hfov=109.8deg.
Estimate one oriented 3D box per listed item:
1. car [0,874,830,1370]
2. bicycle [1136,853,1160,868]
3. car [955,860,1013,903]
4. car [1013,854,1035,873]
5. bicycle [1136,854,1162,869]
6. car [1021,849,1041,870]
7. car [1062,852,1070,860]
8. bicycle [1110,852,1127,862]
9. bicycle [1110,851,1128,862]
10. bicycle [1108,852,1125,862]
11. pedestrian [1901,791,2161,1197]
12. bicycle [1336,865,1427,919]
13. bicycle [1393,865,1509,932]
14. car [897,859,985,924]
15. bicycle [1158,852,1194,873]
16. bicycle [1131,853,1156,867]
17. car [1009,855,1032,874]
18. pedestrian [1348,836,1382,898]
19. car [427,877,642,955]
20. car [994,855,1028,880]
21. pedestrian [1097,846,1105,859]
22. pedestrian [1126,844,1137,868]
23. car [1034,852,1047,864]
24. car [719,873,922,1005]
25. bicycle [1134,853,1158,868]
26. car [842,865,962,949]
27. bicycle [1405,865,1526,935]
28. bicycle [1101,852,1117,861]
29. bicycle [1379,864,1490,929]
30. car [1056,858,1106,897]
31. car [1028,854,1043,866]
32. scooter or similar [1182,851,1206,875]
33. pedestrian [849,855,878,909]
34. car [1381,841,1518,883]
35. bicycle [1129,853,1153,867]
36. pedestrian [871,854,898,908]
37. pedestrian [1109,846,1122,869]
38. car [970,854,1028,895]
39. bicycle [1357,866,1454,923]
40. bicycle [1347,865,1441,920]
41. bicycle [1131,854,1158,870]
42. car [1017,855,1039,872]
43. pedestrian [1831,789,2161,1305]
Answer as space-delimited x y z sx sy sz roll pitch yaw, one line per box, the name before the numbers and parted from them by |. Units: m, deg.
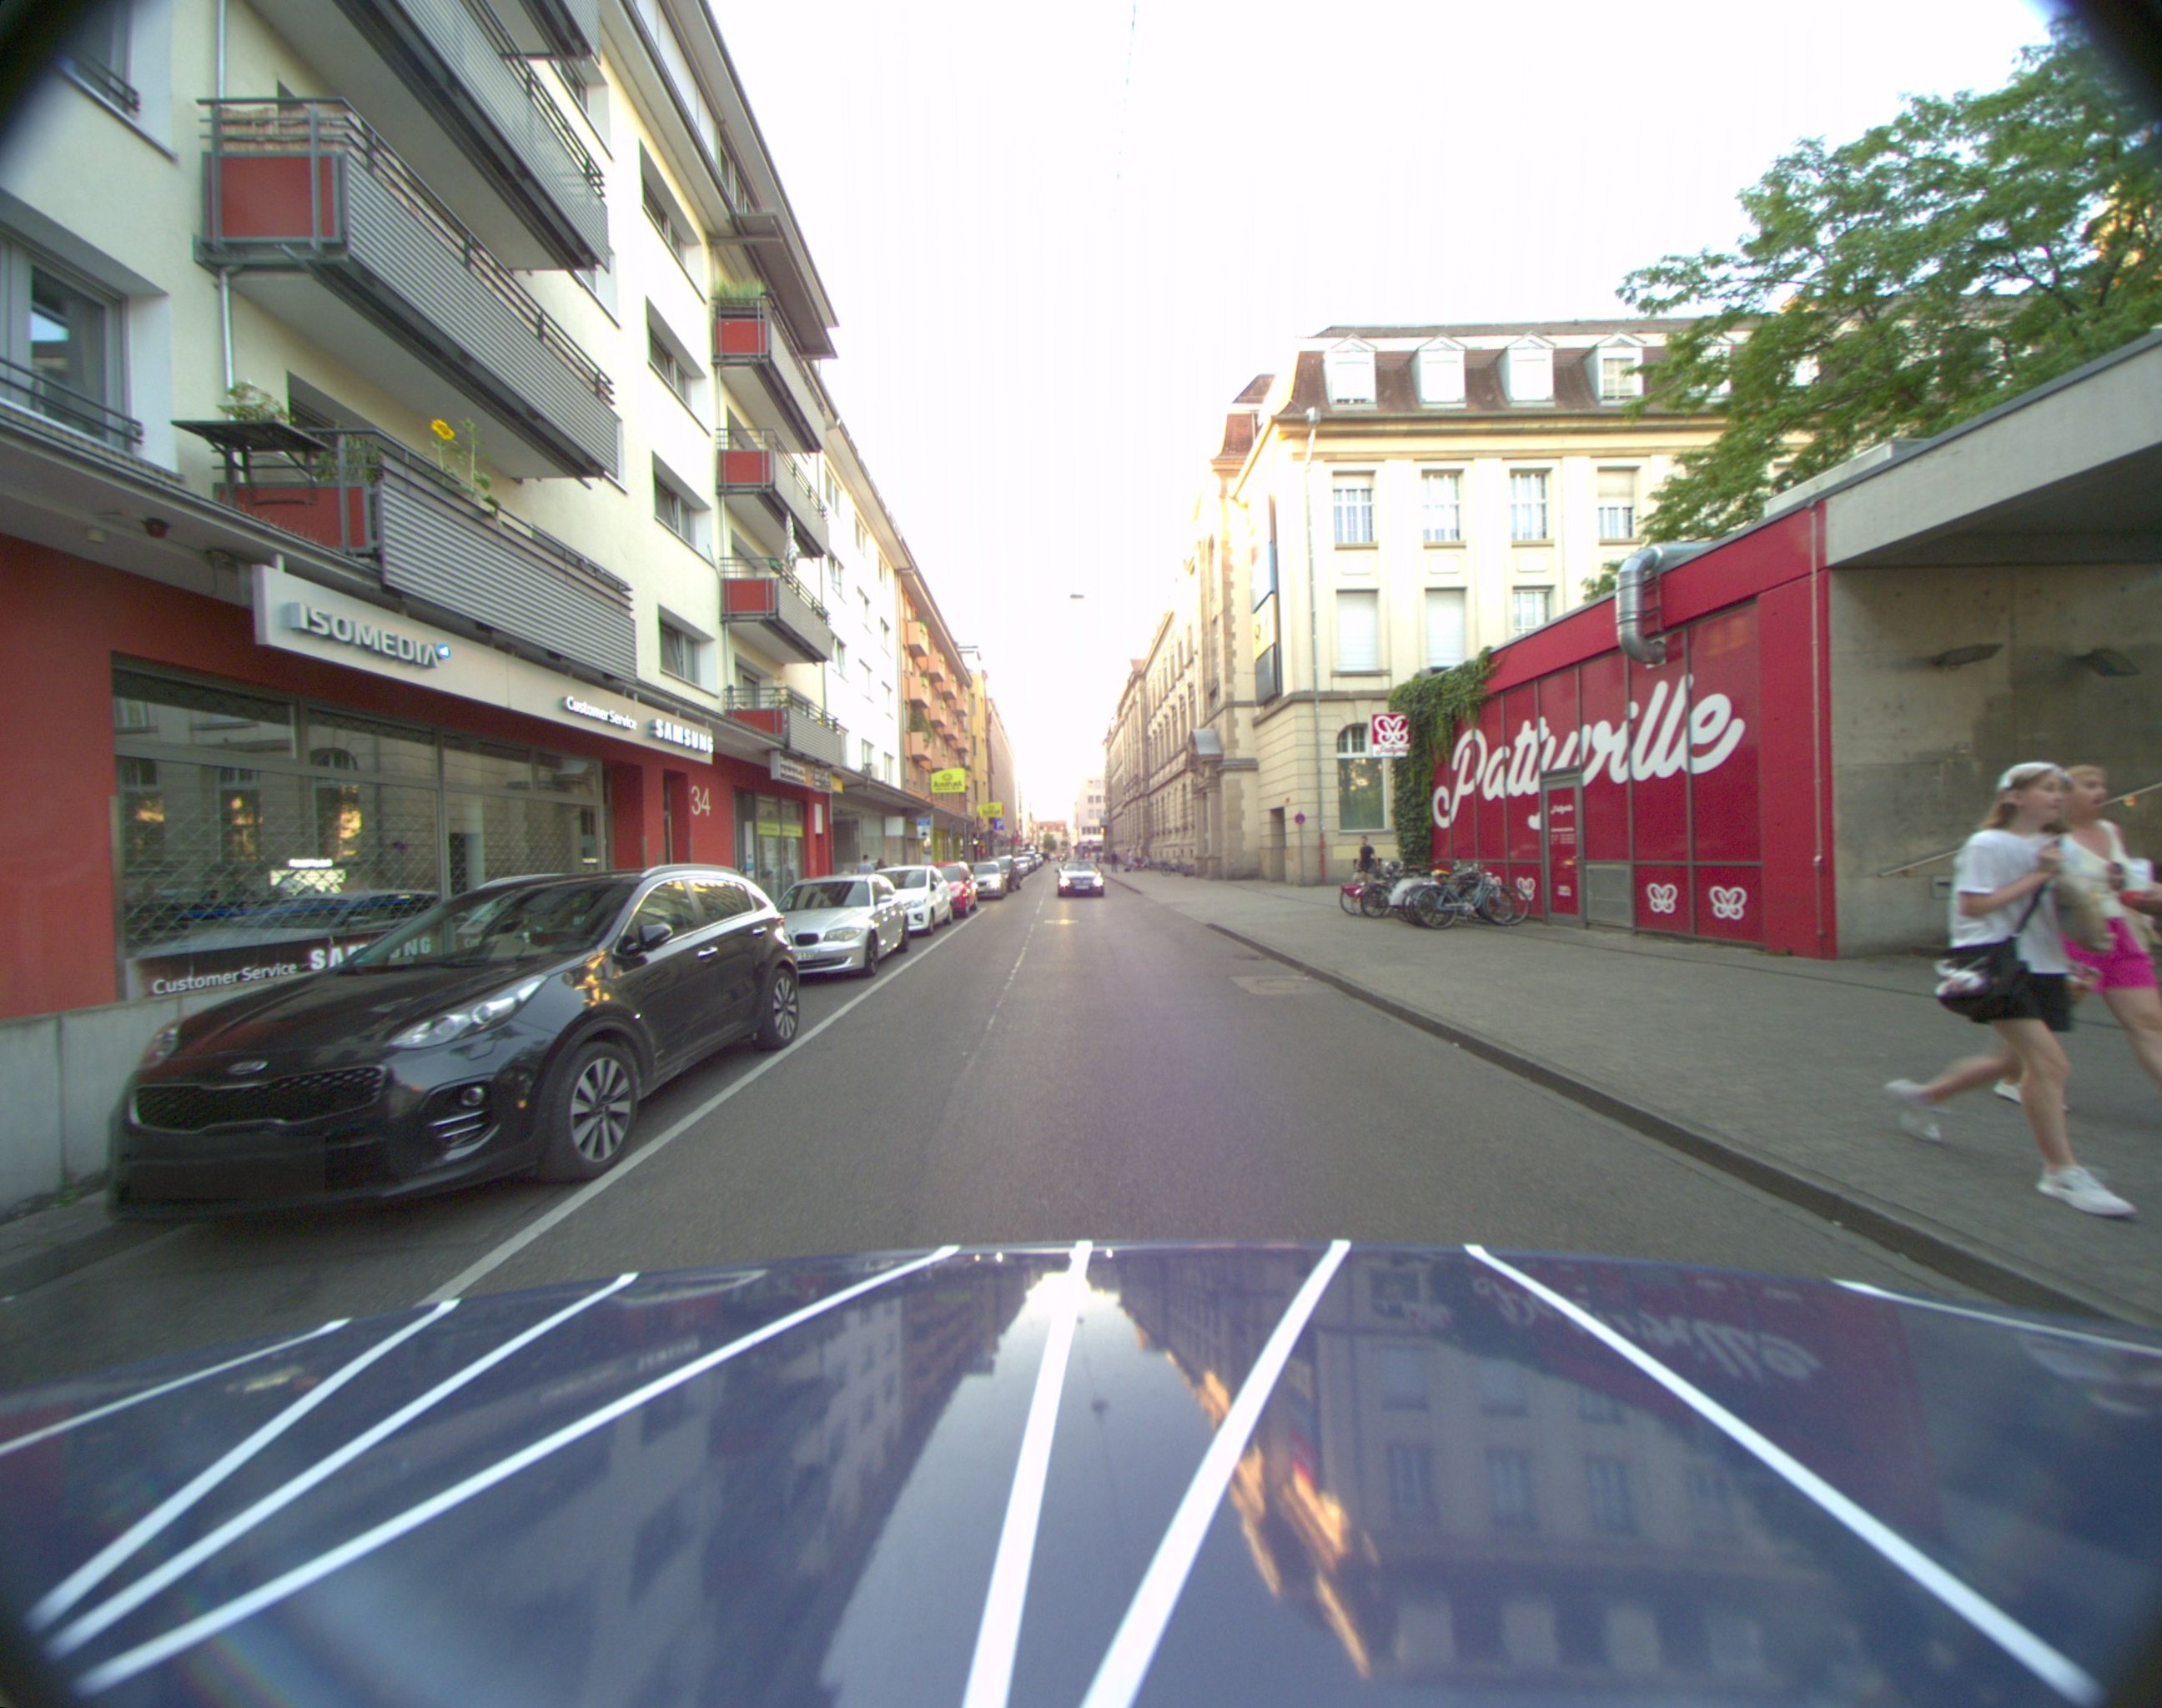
car | -3.432 1.074 5.250 1.769 1.632 4.790 -4 0 -1
bicycle | 5.279 0.513 59.949 1.800 1.101 0.500 -4 1 -7
car | -3.650 0.996 29.359 1.741 1.407 4.681 -4 0 -3
car | -5.009 0.821 66.949 1.623 1.507 4.172 -4 0 -2
bicycle | 5.292 0.554 59.135 1.943 1.055 0.619 -4 1 -7
car | -5.177 0.561 79.146 1.851 2.046 5.052 -3 1 -2
car | -3.437 0.498 172.470 1.824 1.728 3.999 -2 0 -2
bicycle | 4.511 0.345 91.915 1.943 1.072 0.729 -4 1 -8
bicycle | 4.493 0.297 89.876 1.942 1.072 0.748 -4 1 -2
bicycle | 4.397 0.348 93.228 1.943 1.072 0.729 -4 1 -8
pedestrian | 4.866 0.587 3.697 0.755 1.739 0.846 -3 0 -2
bicycle | 6.644 0.839 16.836 1.799 1.101 0.500 -2 1 -1
bicycle | 6.641 0.795 13.680 1.798 1.101 0.500 -3 1 2
car | -3.820 0.966 21.492 1.717 1.503 4.651 -4 0 -3
bicycle | 5.671 0.503 45.234 1.944 1.055 0.619 -5 2 -16
bicycle | 5.240 0.510 63.368 1.943 1.055 0.619 -4 1 -7
car | -4.890 0.857 61.779 1.696 1.403 4.637 -4 0 -4
pedestrian | 8.671 0.403 23.211 0.617 1.845 0.634 -4 1 -28
car | -11.652 1.254 16.593 1.744 1.329 4.000 -2 0 1
car | -4.469 0.864 48.935 1.696 1.406 4.756 -4 0 -1
pedestrian | 2.709 -0.186 102.676 0.831 1.736 0.769 -4 1 -1
pedestrian | 3.935 0.150 59.637 0.589 1.840 0.754 -4 1 -7
car | -6.066 0.569 113.068 1.781 1.656 4.811 -3 1 -4
car | -3.737 1.122 11.782 1.703 1.443 4.457 -4 0 -3
bicycle | 5.199 0.491 61.147 1.800 1.101 0.500 -4 1 -7
car | -3.833 1.072 16.958 1.610 1.503 4.048 -4 0 0
bicycle | 6.657 0.797 13.211 1.798 1.101 0.500 -3 1 2
bicycle | 3.985 0.298 107.850 2.025 1.102 0.730 -4 1 -8
bicycle | 6.643 0.792 14.313 1.798 1.101 0.500 -3 1 2
car | -0.074 0.871 29.757 1.741 1.407 4.681 1 0 -3
car | -5.717 0.740 96.070 1.661 1.439 4.307 -3 1 -2
scooter or similar | 6.152 0.504 41.456 1.137 1.225 0.496 -3 1 -13
pedestrian | -6.808 0.851 23.841 0.649 1.652 0.794 1 1 1
car | 13.074 0.278 27.082 4.016 1.363 1.750 -2 0 -2
bicycle | 5.094 0.519 64.613 1.942 1.055 0.619 -3 1 -2
pedestrian | -6.146 0.833 23.841 0.649 1.652 0.655 1 1 1
pedestrian | 2.704 0.284 59.669 0.811 1.740 0.969 -3 1 -1
car | -3.681 0.871 34.734 1.798 1.600 4.487 -4 0 3
bicycle | 6.794 0.837 15.957 1.799 1.101 0.500 -2 1 -2
bicycle | 6.780 0.831 16.492 1.799 1.101 0.500 -2 1 -2
bicycle | 4.884 0.592 58.085 1.942 1.055 0.619 -3 2 -3
car | -5.011 0.906 72.064 1.691 1.444 4.497 -4 0 0
pedestrian | 3.868 0.642 3.062 0.651 1.740 0.985 -3 0 -2
